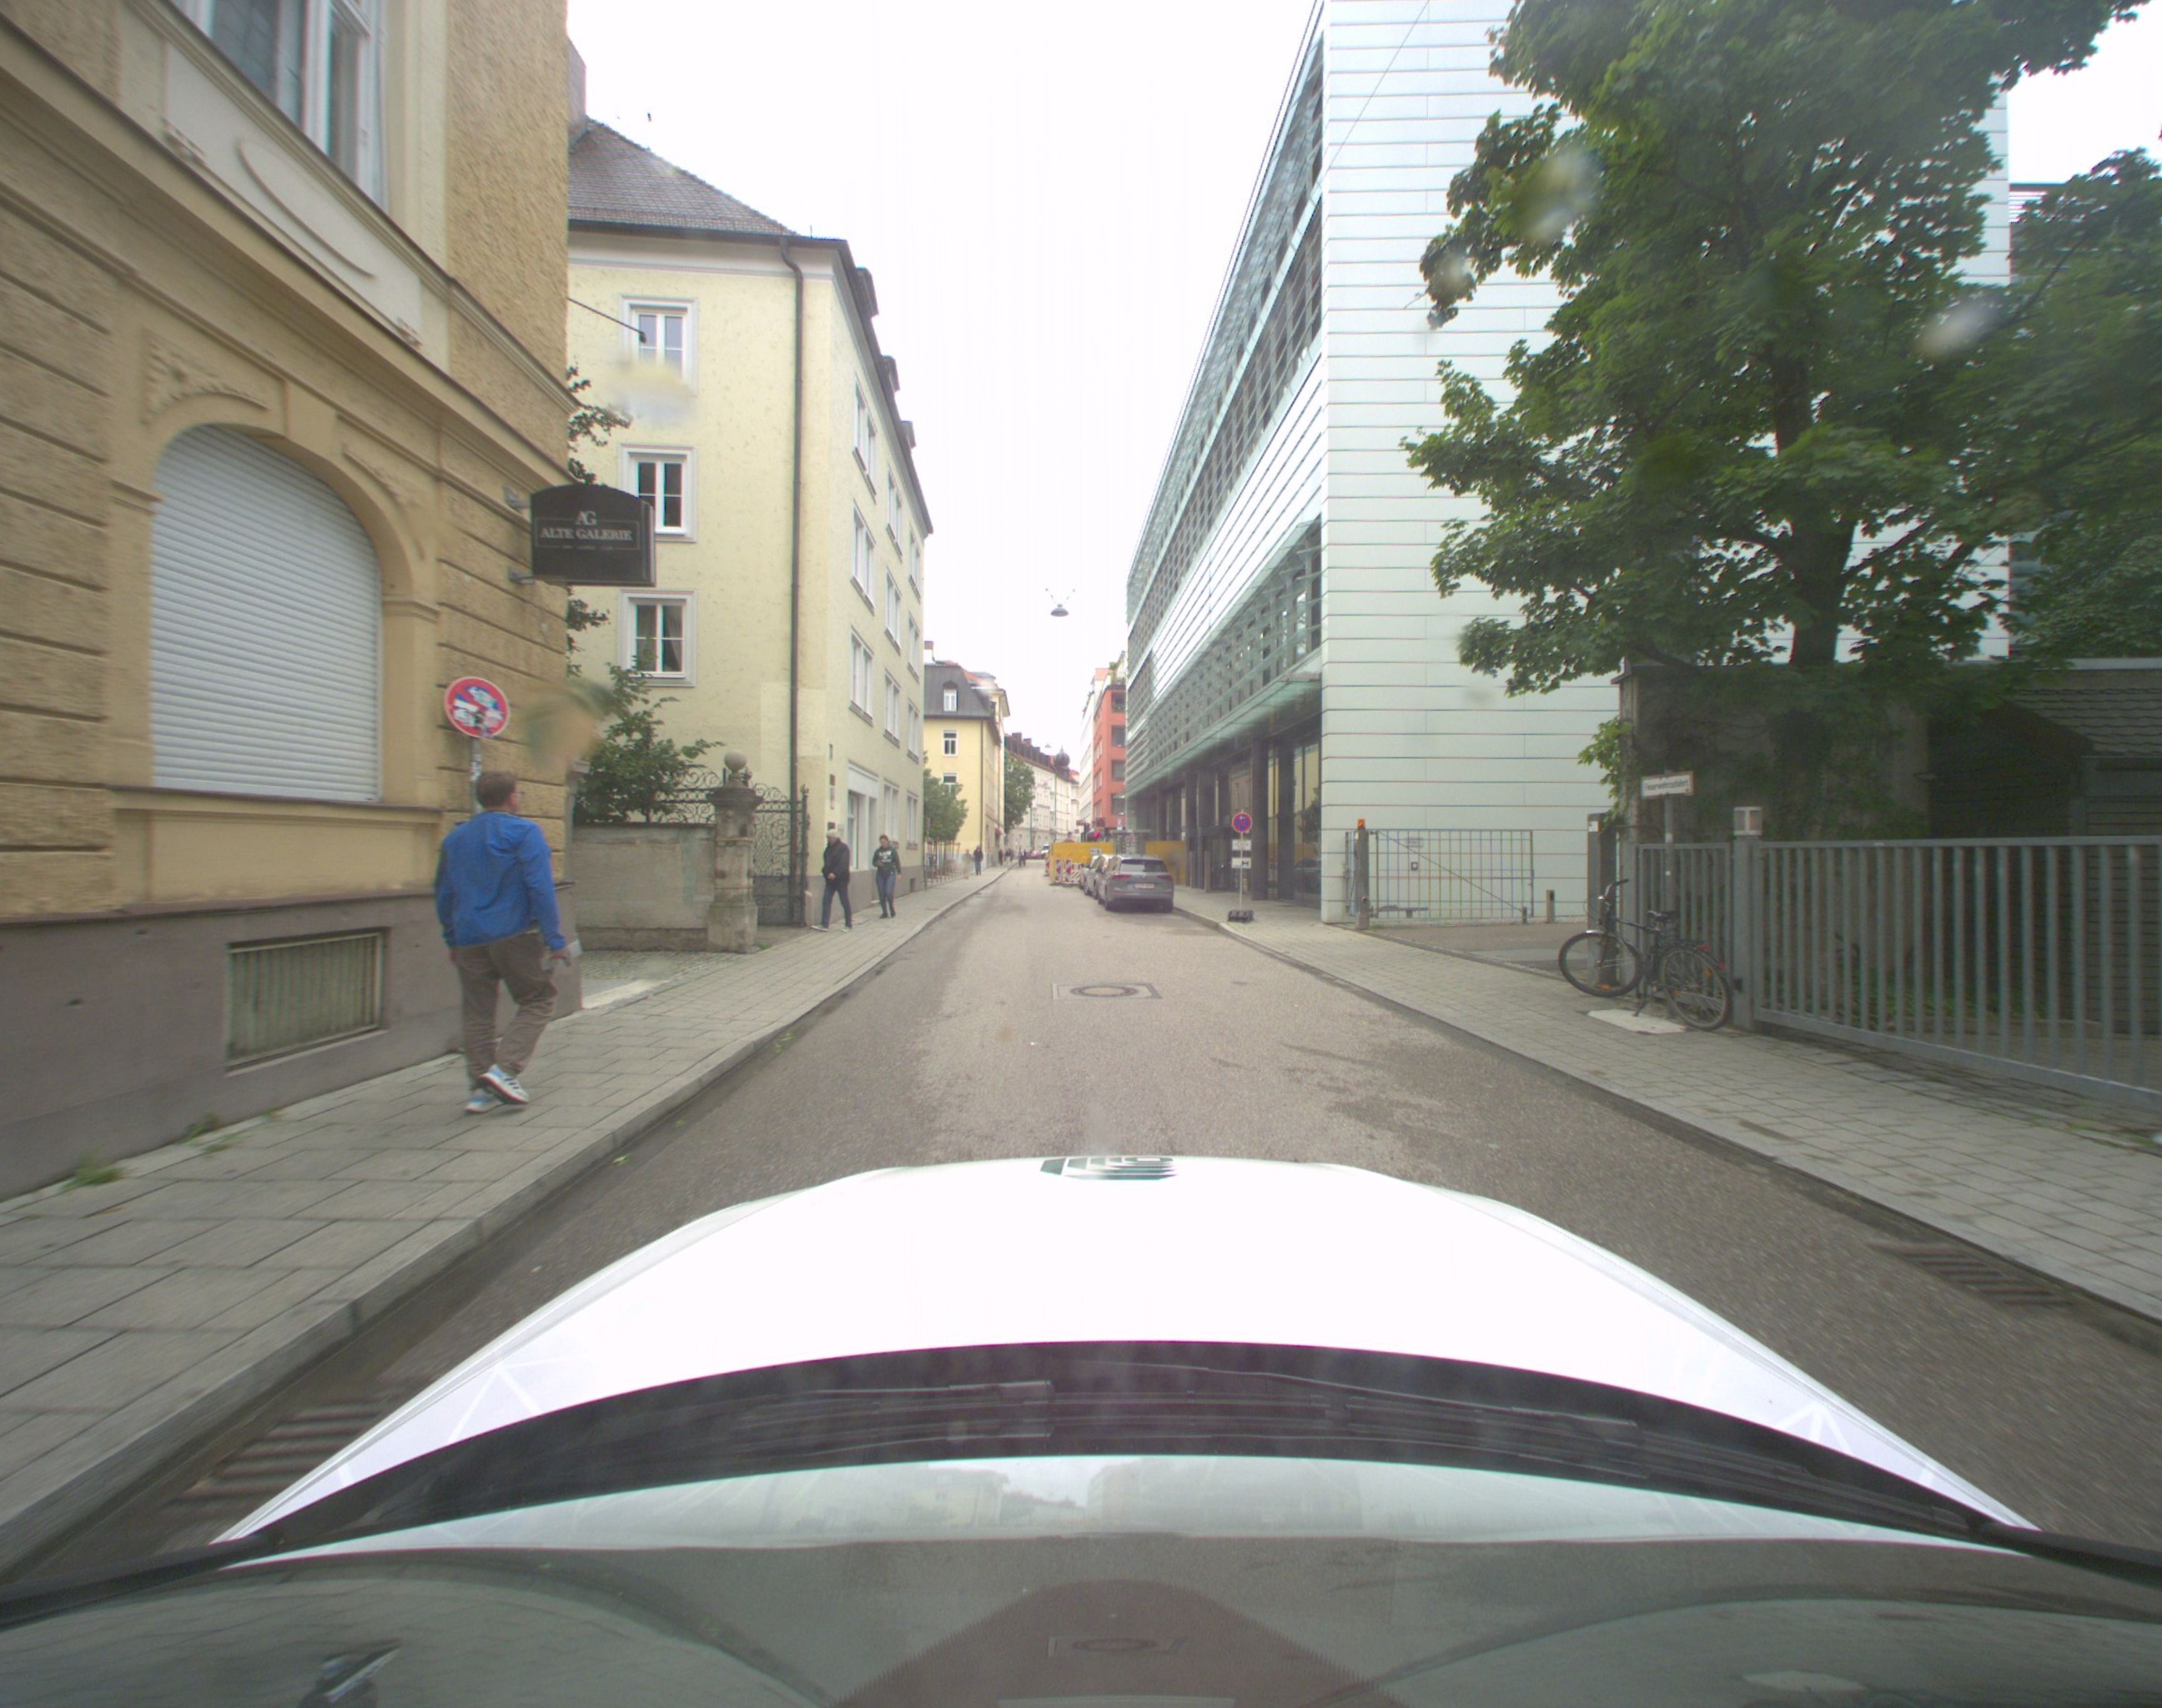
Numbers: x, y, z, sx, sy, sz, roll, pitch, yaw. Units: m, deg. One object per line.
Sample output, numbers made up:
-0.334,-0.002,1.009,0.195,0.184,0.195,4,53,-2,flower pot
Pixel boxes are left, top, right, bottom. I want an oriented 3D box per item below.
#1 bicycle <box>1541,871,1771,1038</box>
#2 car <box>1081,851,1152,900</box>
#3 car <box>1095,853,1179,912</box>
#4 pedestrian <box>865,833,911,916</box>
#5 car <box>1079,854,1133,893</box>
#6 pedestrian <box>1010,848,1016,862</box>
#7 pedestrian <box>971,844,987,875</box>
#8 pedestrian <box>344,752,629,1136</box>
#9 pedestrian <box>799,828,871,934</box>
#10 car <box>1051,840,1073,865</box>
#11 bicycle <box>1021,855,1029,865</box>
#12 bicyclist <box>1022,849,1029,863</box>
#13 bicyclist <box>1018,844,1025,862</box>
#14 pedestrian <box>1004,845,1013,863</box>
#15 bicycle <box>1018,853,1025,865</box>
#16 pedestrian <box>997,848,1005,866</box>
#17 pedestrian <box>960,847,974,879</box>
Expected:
5.072,0.815,7.367,0.706,1.198,1.832,0,3,-3,bicycle
1.119,0.681,27.415,1.706,1.467,4.227,2,0,-7,car
1.404,0.703,22.135,1.705,1.432,4.323,0,0,-4,car
-4.026,0.417,17.049,0.711,1.666,0.928,3,0,-4,pedestrian
0.917,0.730,32.567,1.704,1.414,4.503,2,0,-4,car
-8.362,0.124,100.460,0.633,1.675,0.517,1,0,-4,pedestrian
-6.307,0.309,50.368,0.866,1.881,1.133,1,0,-5,pedestrian
-3.188,0.444,4.506,0.755,1.854,1.075,2,0,-4,pedestrian
-4.391,0.459,14.600,0.900,1.827,0.958,0,0,8,pedestrian
-1.971,-0.172,84.554,1.990,2.536,4.968,1,0,-4,car
-5.466,0.578,79.738,0.706,0.905,1.807,0,0,-4,bicycle
-5.461,0.236,79.716,0.706,1.371,0.812,0,0,-4,bicyclist
-5.513,-0.095,75.541,0.658,1.643,0.894,0,0,-4,bicyclist
-6.876,0.018,77.515,0.838,1.700,0.802,1,0,-4,pedestrian
-5.521,0.468,75.525,0.660,1.039,2.002,0,0,-4,bicycle
-7.648,0.267,77.714,0.669,1.648,0.760,1,0,-4,pedestrian
-6.160,0.480,44.097,0.646,1.676,0.722,1,0,-5,pedestrian
